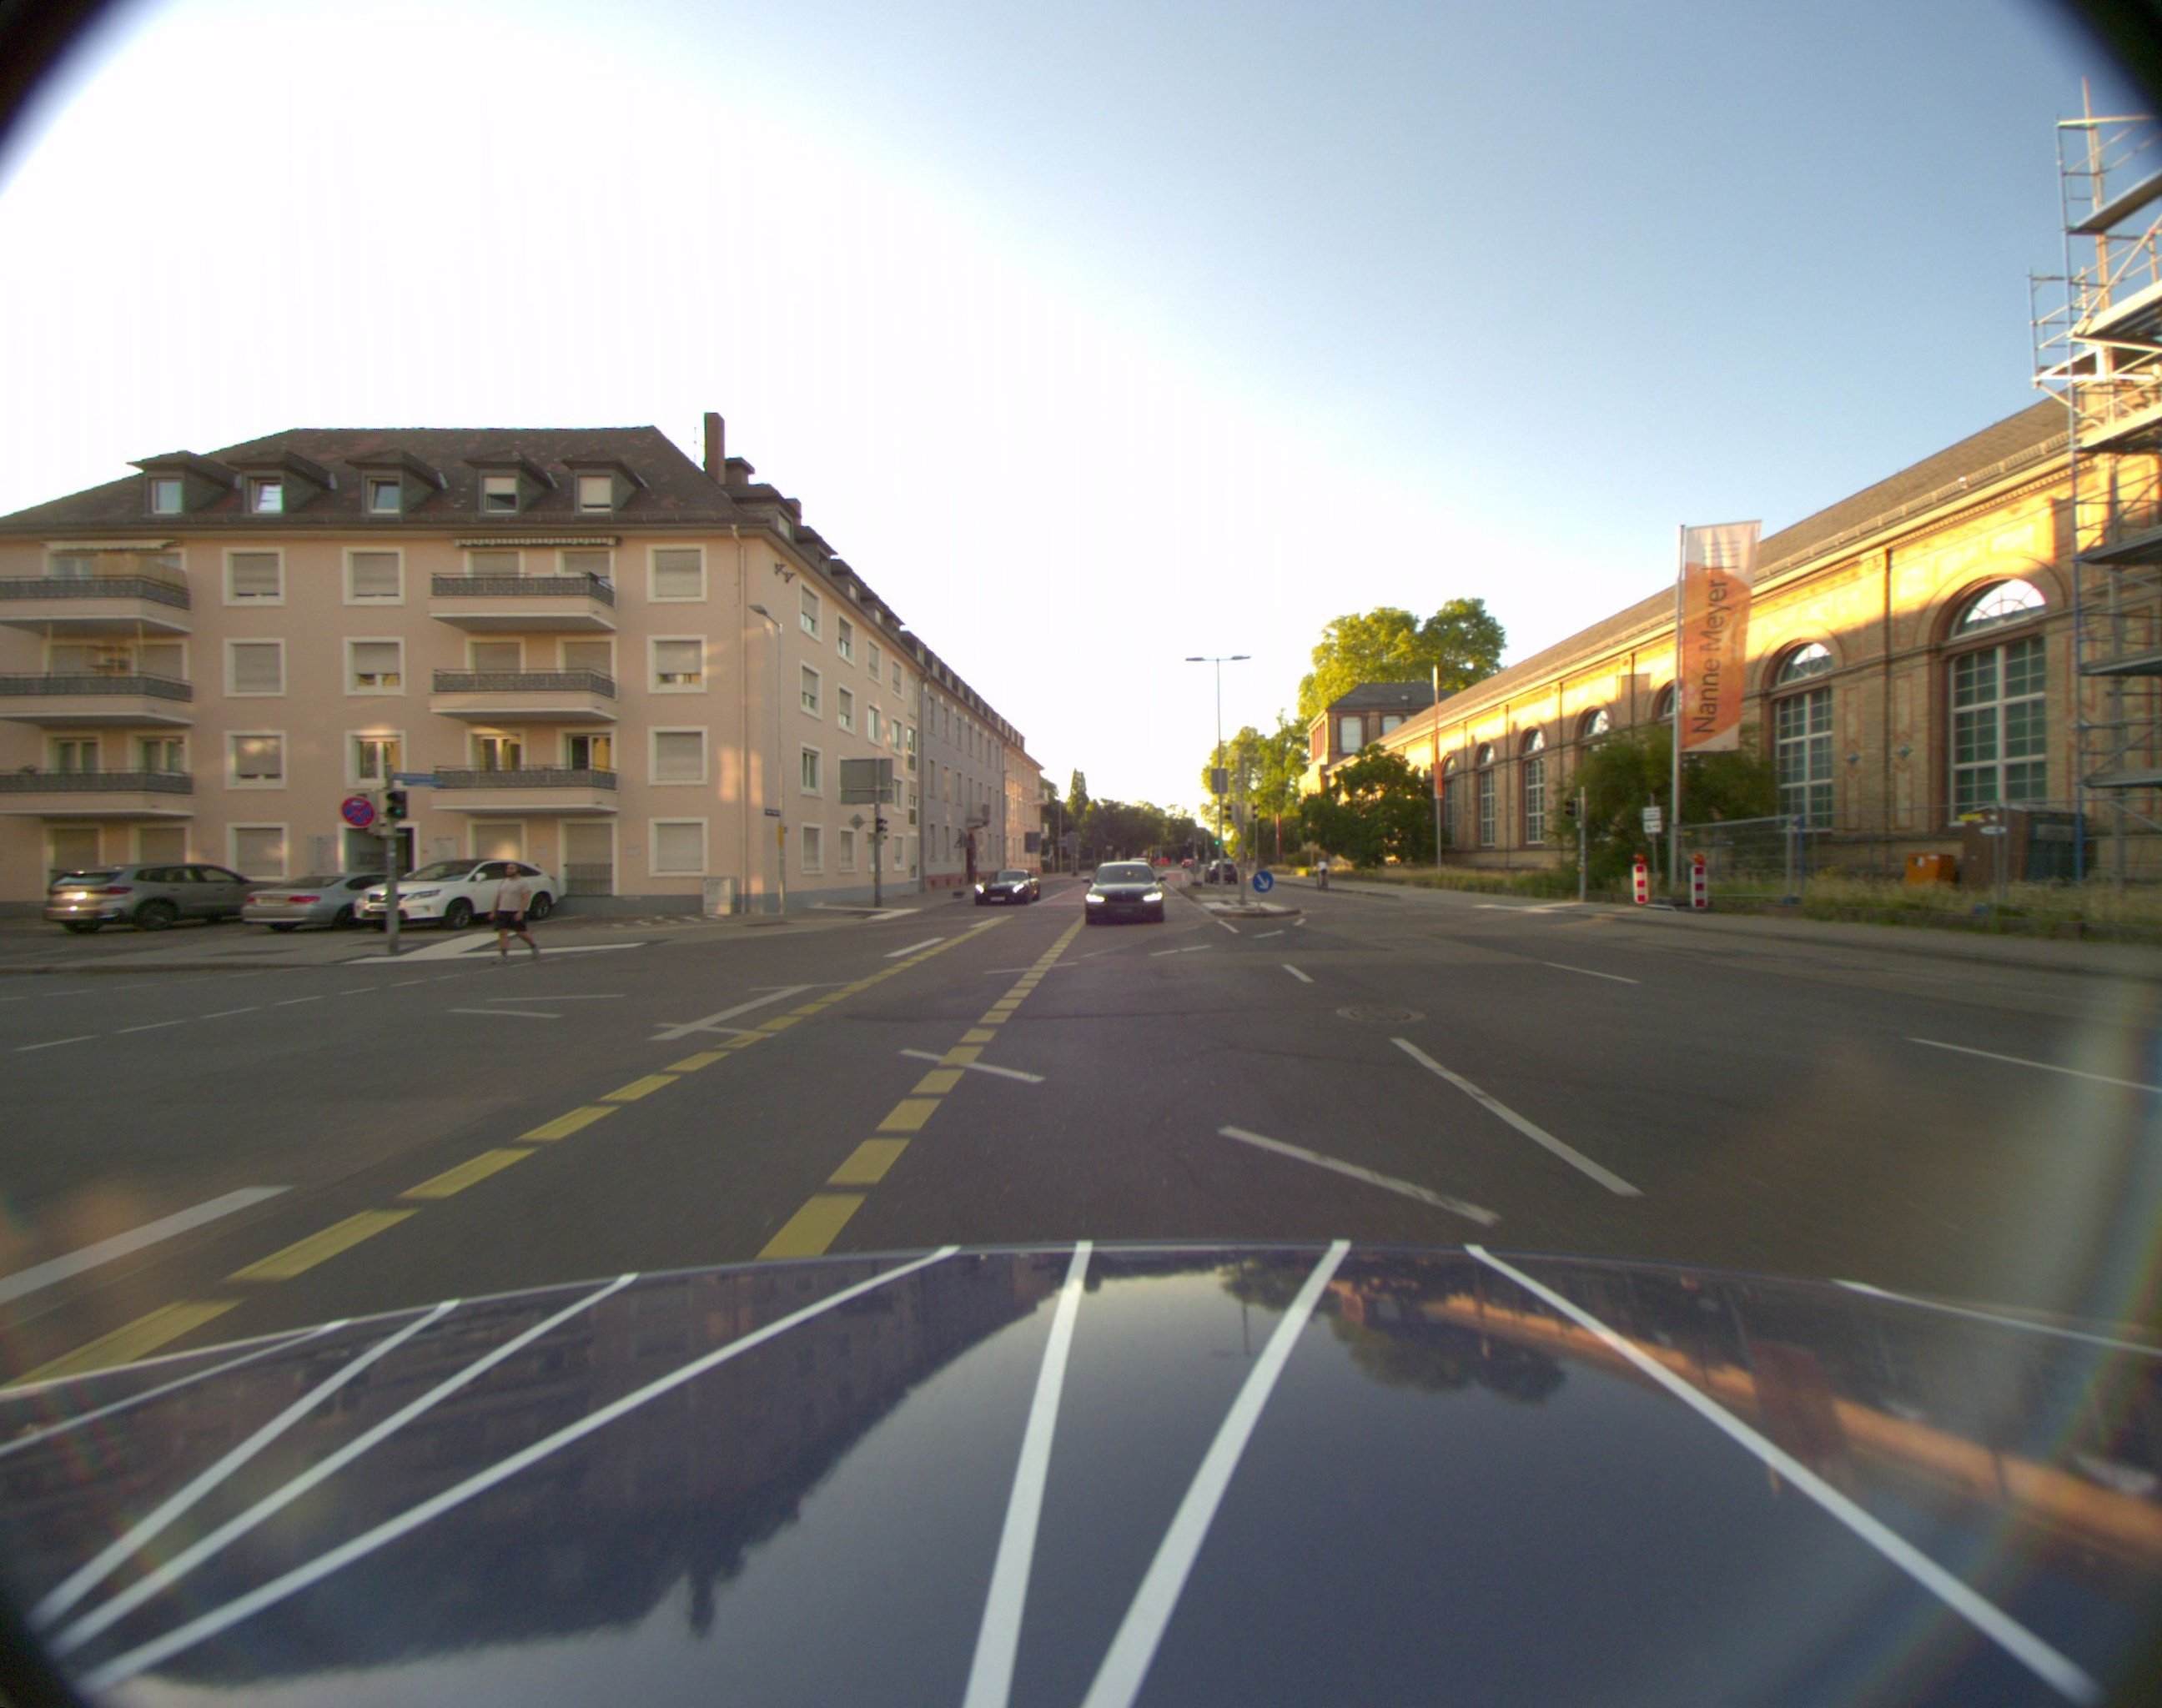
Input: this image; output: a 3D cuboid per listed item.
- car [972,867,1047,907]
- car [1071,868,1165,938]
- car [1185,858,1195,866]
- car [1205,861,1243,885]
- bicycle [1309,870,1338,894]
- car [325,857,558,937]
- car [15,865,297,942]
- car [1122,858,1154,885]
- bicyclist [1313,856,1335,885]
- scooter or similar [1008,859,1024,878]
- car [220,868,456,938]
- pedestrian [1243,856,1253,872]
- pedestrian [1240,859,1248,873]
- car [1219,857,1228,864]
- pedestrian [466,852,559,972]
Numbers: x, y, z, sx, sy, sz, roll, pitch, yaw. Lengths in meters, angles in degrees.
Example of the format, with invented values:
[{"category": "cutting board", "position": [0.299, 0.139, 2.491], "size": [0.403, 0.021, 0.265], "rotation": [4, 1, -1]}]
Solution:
[{"category": "car", "position": [-2.625, 1.191, 28.945], "size": [2.183, 1.293, 4.358], "rotation": [-3, 0, 3]}, {"category": "car", "position": [1.058, 1.094, 18.627], "size": [1.963, 1.378, 4.783], "rotation": [-1, 0, 7]}, {"category": "car", "position": [20.616, 1.456, 143.368], "size": [1.775, 1.455, 4.003], "rotation": [1, 0, 9]}, {"category": "car", "position": [9.418, 1.199, 50.445], "size": [1.827, 1.499, 4.428], "rotation": [-1, 0, 2]}, {"category": "bicycle", "position": [12.065, 1.378, 37.881], "size": [0.755, 1.084, 1.932], "rotation": [1, 0, -2]}, {"category": "car", "position": [-15.703, 0.968, 19.068], "size": [1.998, 1.739, 4.475], "rotation": [-1, 0, 1]}, {"category": "car", "position": [-22.763, 1.131, 19.018], "size": [2.010, 1.538, 4.055], "rotation": [-1, 2, 1]}, {"category": "car", "position": [3.884, 1.163, 52.123], "size": [1.838, 1.674, 4.223], "rotation": [-2, 0, 0]}, {"category": "bicyclist", "position": [12.079, 0.817, 37.860], "size": [0.749, 1.451, 0.937], "rotation": [1, 0, -2]}, {"category": "scooter or similar", "position": [-5.150, 1.149, 60.202], "size": [0.726, 1.450, 1.674], "rotation": [2, 0, 14]}, {"category": "car", "position": [-18.313, 1.140, 19.043], "size": [1.924, 1.504, 4.029], "rotation": [-1, 0, 1]}, {"category": "pedestrian", "position": [18.248, 1.104, 83.084], "size": [0.806, 1.728, 0.851], "rotation": [-1, 0, 29]}, {"category": "pedestrian", "position": [17.812, 1.278, 83.186], "size": [0.675, 1.504, 0.836], "rotation": [-5, -2, 10]}, {"category": "car", "position": [31.769, 1.469, 169.626], "size": [1.919, 1.674, 4.004], "rotation": [-1, 0, 12]}, {"category": "pedestrian", "position": [-9.838, 0.969, 13.172], "size": [0.786, 2.002, 0.996], "rotation": [-1, 0, 19]}]
